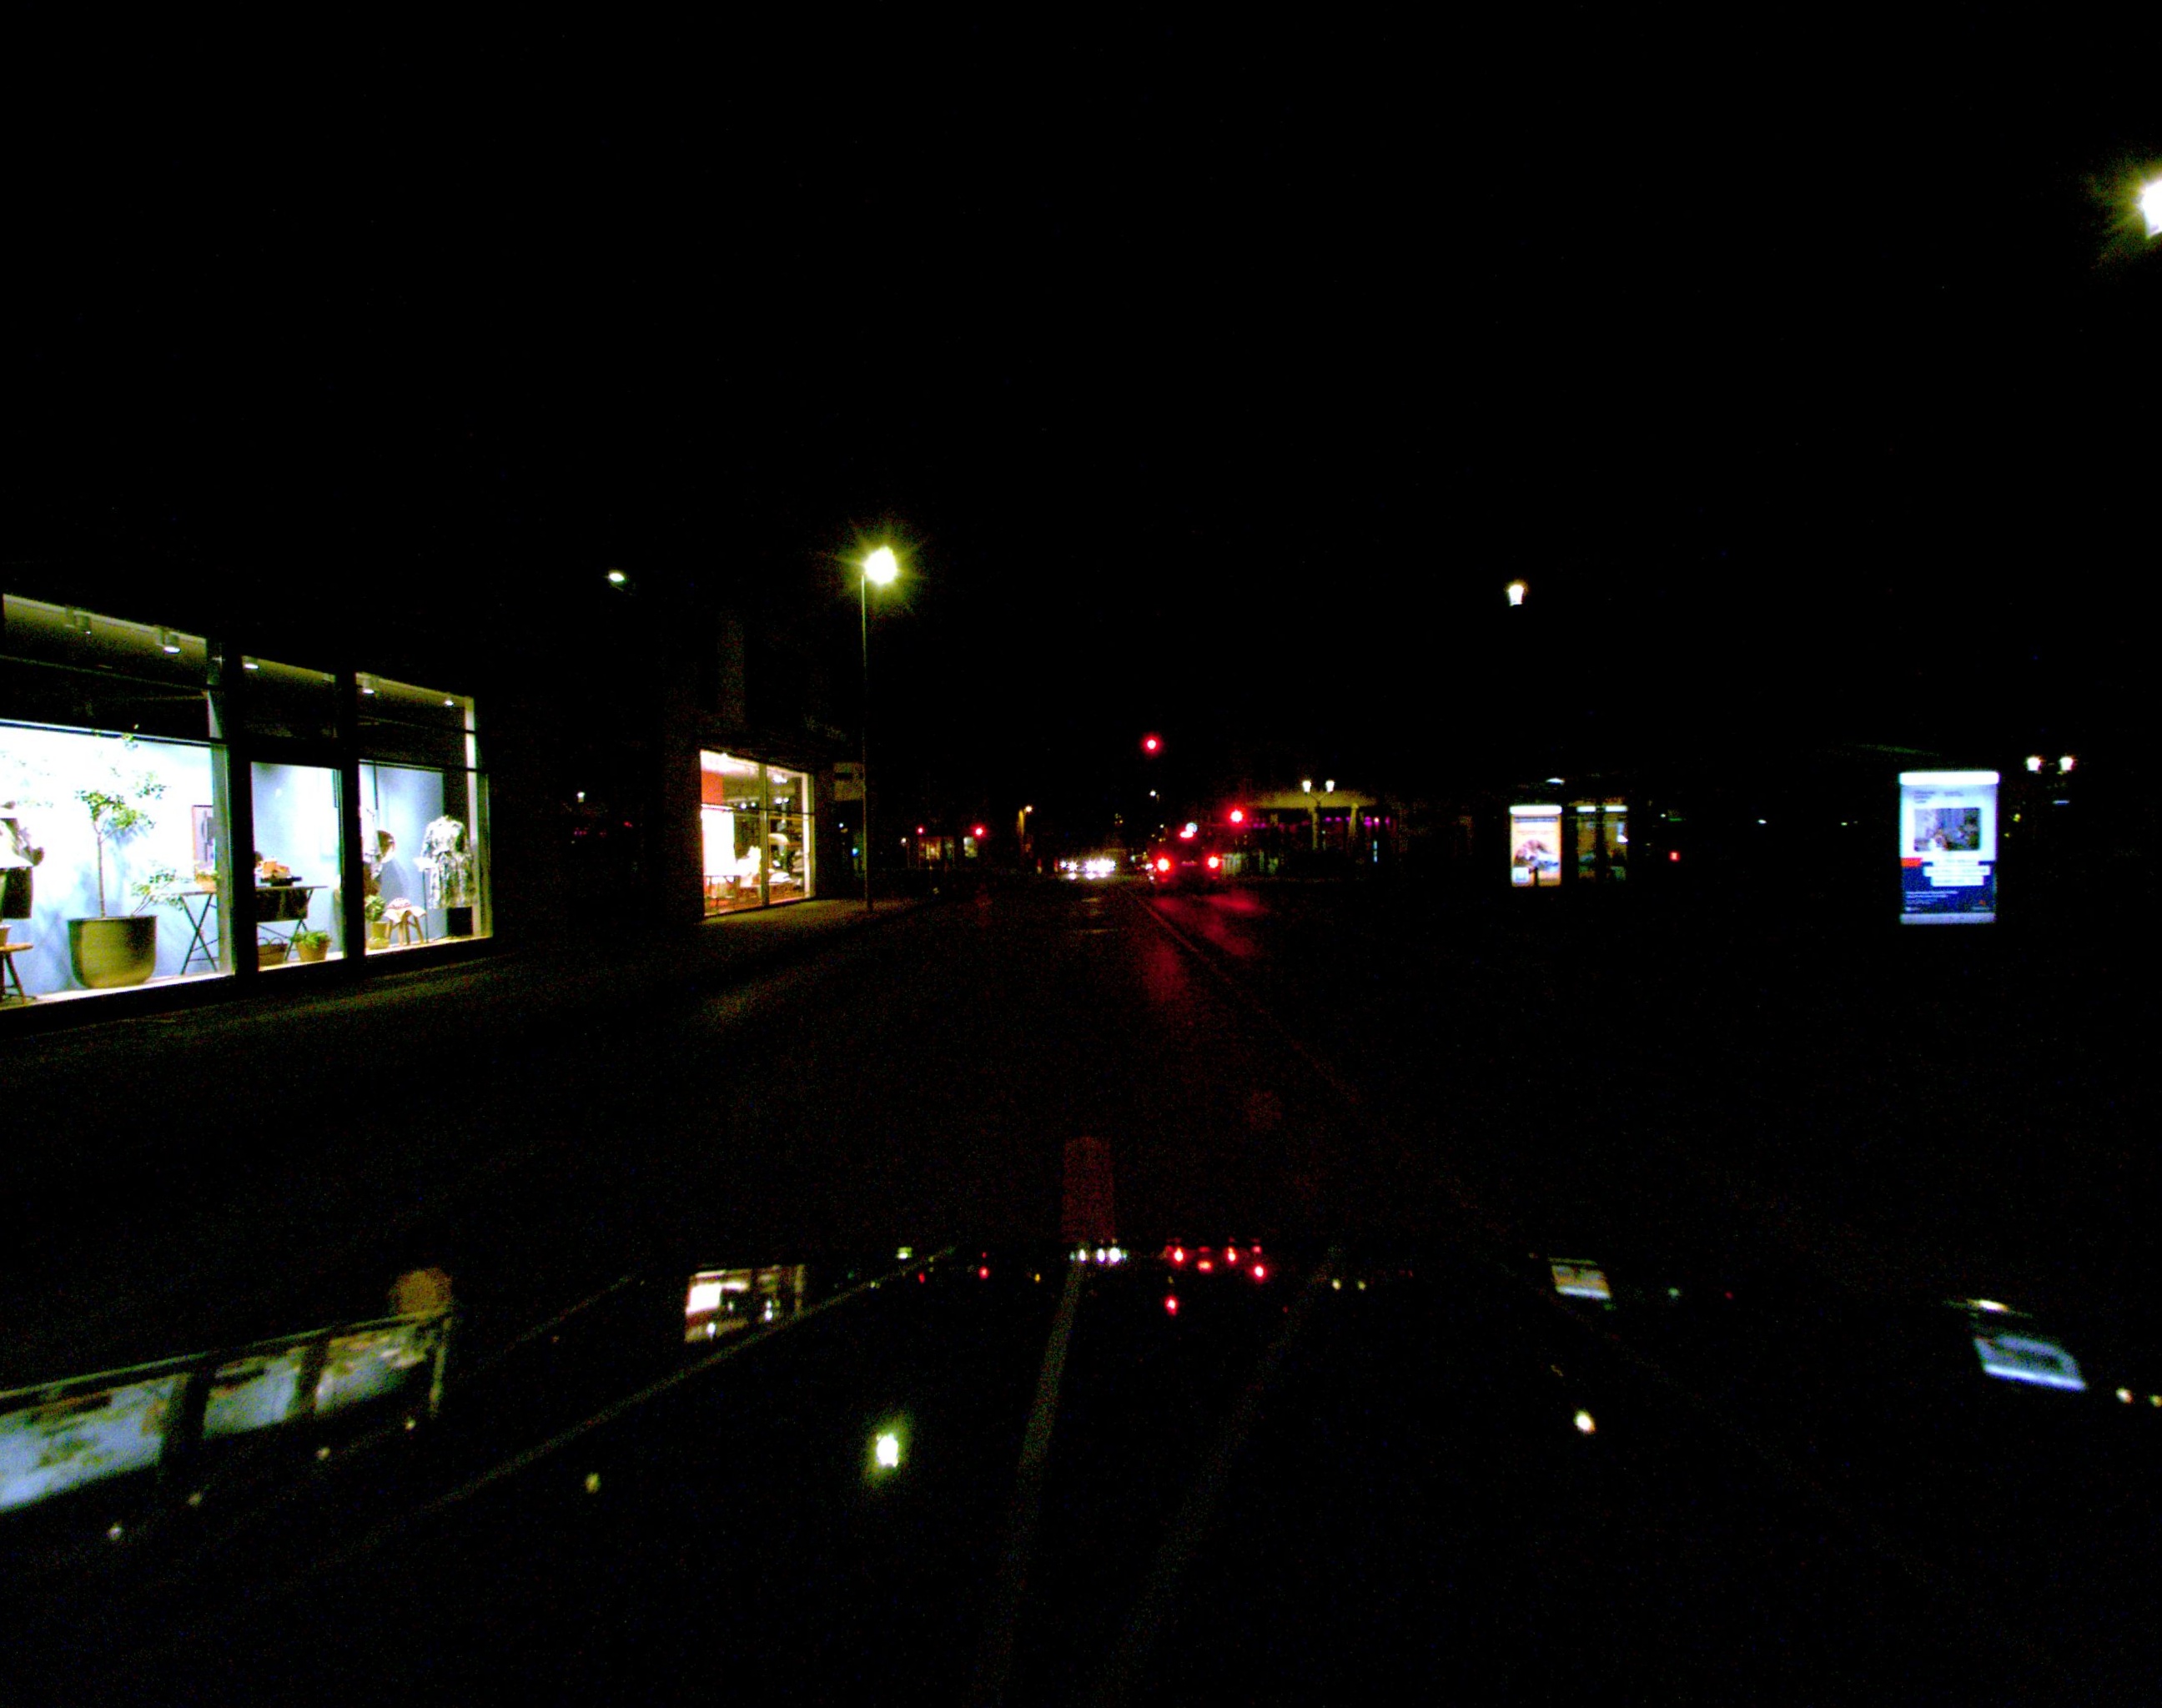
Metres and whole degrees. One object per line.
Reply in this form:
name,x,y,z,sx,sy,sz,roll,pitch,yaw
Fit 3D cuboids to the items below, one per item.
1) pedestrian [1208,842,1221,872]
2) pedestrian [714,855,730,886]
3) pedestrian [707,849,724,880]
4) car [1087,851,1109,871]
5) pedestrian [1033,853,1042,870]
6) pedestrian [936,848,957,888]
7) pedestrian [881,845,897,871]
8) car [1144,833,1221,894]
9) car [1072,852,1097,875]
pedestrian,7.325,0.158,41.661,0.646,1.619,0.583,-2,1,11
pedestrian,-19.655,0.903,41.611,0.524,1.707,0.567,-2,1,8
pedestrian,-20.593,0.572,42.762,0.567,1.707,0.567,-2,1,7
car,1.569,0.648,70.451,1.879,1.718,3.999,-2,1,1
pedestrian,-3.796,0.627,66.316,0.647,1.487,0.830,0,1,2
pedestrian,-5.779,0.609,32.594,0.539,1.672,0.648,-2,1,23
pedestrian,-13.001,0.263,51.469,0.877,1.723,0.647,0,1,4
car,3.334,0.265,25.847,1.971,1.861,4.911,-1,1,0
car,0.272,0.699,60.289,1.713,1.660,3.738,-2,1,3
